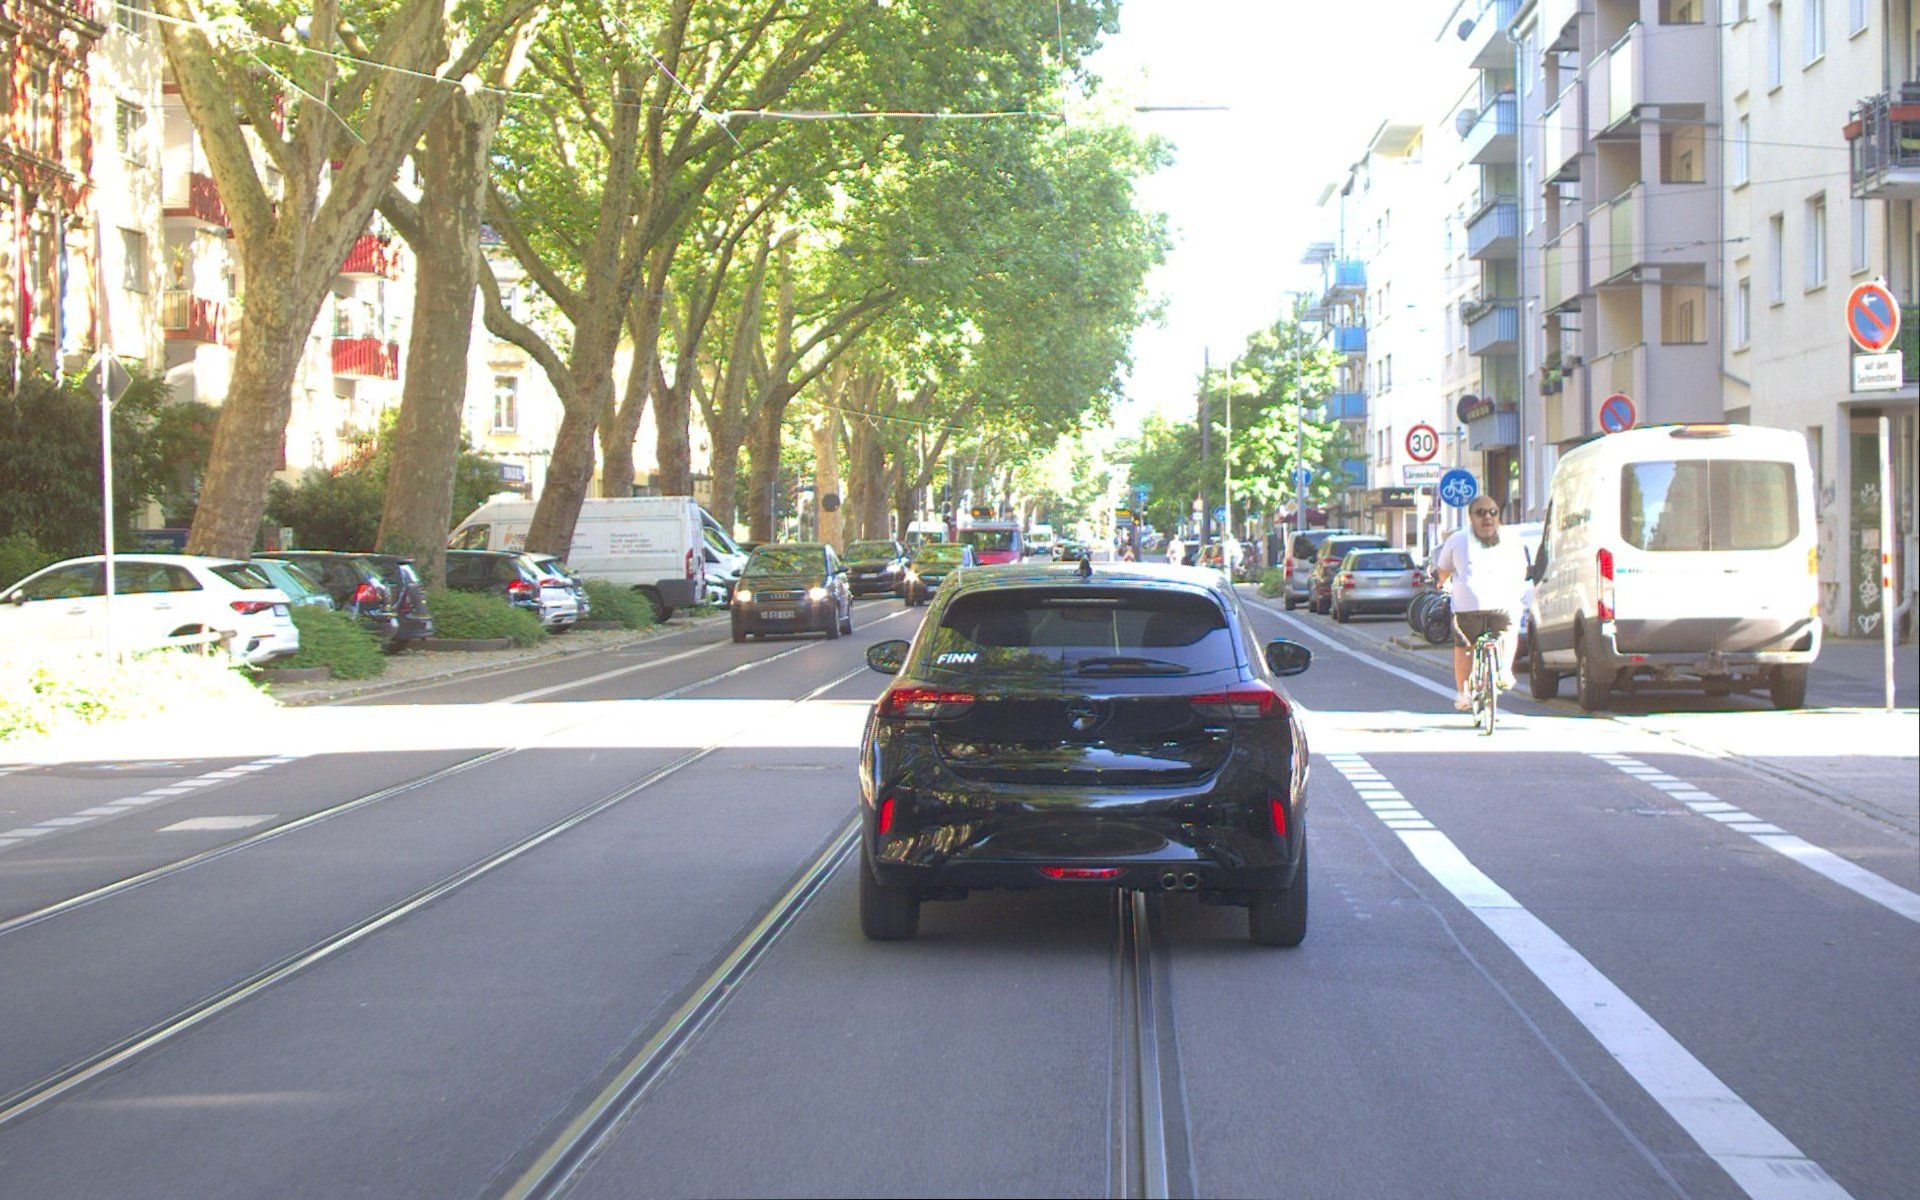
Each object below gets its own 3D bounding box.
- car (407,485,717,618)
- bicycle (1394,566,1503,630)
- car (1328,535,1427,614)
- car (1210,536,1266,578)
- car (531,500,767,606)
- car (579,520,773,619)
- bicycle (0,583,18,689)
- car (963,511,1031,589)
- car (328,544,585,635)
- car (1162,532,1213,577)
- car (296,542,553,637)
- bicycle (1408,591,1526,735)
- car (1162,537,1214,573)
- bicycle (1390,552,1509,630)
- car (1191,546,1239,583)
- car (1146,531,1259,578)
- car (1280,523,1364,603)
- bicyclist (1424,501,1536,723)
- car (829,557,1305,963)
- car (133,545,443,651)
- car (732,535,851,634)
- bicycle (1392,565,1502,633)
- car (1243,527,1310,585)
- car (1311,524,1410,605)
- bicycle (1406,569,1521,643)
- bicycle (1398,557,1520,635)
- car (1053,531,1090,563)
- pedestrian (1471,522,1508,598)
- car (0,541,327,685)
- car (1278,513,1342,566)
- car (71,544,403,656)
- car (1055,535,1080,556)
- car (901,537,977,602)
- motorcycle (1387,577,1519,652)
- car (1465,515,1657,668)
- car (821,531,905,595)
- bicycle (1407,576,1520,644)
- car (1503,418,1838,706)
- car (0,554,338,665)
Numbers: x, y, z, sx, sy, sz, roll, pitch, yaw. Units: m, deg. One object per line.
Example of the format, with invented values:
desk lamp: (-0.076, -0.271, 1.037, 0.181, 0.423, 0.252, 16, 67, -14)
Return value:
car: (-7.761, -0.962, 67.325, 5.741, 2.527, 2.162, 0, 1, 3)
bicycle: (7.822, -0.037, 55.068, 1.653, 0.963, 0.457, -2, 1, 3)
car: (8.215, -0.527, 67.975, 1.724, 1.520, 4.512, 0, 1, 4)
car: (10.708, -1.667, 132.666, 1.718, 1.568, 4.085, 0, 1, -1)
car: (-7.387, -1.128, 81.952, 5.361, 2.469, 2.057, 0, 1, 3)
car: (-7.459, -0.814, 90.735, 4.943, 2.559, 2.082, 0, 1, 0)
bicycle: (-10.254, 0.358, 34.216, 1.804, 1.040, 0.596, 0, 1, 30)
car: (1.079, -1.458, 100.016, 1.917, 2.219, 4.960, 0, 1, 1)
car: (-8.471, -0.190, 58.022, 3.987, 1.491, 1.830, 0, 1, 3)
car: (8.518, -1.705, 128.264, 1.859, 1.646, 4.000, 0, 1, 4)
car: (-8.565, -0.184, 55.170, 3.794, 1.455, 1.704, 1, 1, 4)
bicycle: (4.059, 0.484, 27.638, 0.701, 1.088, 1.990, 2, 0, 2)
car: (10.421, -2.062, 157.451, 1.993, 1.634, 4.000, 0, 1, -1)
bicycle: (7.903, -0.141, 55.554, 1.823, 1.187, 0.457, -2, 1, 3)
car: (10.288, -1.446, 138.760, 1.718, 1.485, 3.682, 0, 1, 1)
car: (8.636, -1.630, 122.715, 3.987, 1.646, 1.864, 0, 1, 3)
car: (8.749, -0.917, 83.360, 1.859, 1.883, 4.924, 0, 1, 4)
bicyclist: (4.159, 0.090, 27.544, 0.786, 1.753, 0.914, 0, 1, 2)
car: (0.451, 0.552, 14.188, 1.680, 1.417, 3.627, 1, 1, 2)
car: (-9.488, -0.035, 48.710, 3.987, 1.455, 1.704, 0, 1, 5)
car: (-2.641, -0.276, 54.473, 1.635, 1.504, 3.692, 0, 1, 1)
bicycle: (7.725, -0.020, 54.525, 1.653, 1.017, 0.457, -2, 1, 3)
car: (9.230, -1.299, 100.453, 1.859, 1.646, 4.000, 0, 1, 4)
car: (8.652, -0.787, 74.610, 1.767, 1.699, 4.283, 0, 1, 2)
bicycle: (7.614, 0.085, 52.029, 1.653, 1.051, 0.457, -2, 1, 3)
bicycle: (7.812, -0.060, 53.832, 1.794, 1.144, 0.704, -2, 1, 3)
car: (5.815, -2.770, 178.383, 1.750, 1.646, 4.000, 0, 1, 4)
pedestrian: (12.071, -0.913, 78.396, 0.756, 1.714, 0.720, 0, 1, 1)
car: (-8.954, 0.147, 36.694, 3.987, 1.455, 1.879, -1, 0, 2)
car: (10.974, -1.899, 108.005, 1.859, 1.646, 4.000, 0, 1, 4)
car: (-9.628, -0.011, 45.951, 3.987, 1.455, 1.770, 0, 1, 5)
car: (7.421, -3.777, 238.113, 1.680, 1.417, 3.627, 1, 1, 2)
car: (-0.473, -0.740, 81.709, 1.718, 1.504, 3.723, 0, 1, 1)
motorcycle: (7.332, 0.212, 51.162, 1.821, 1.076, 0.616, -1, 1, 26)
car: (7.475, -0.139, 43.111, 1.858, 1.814, 4.350, 0, 1, 3)
car: (-2.718, -1.071, 97.178, 1.994, 1.694, 4.484, -2, 1, 3)
bicycle: (7.748, 0.154, 52.977, 1.653, 0.983, 0.457, -2, 1, 3)
car: (6.624, -0.370, 32.796, 2.149, 2.487, 6.088, 0, 1, 2)
car: (-10.088, 0.106, 43.738, 3.987, 1.364, 1.605, 0, 1, 5)
